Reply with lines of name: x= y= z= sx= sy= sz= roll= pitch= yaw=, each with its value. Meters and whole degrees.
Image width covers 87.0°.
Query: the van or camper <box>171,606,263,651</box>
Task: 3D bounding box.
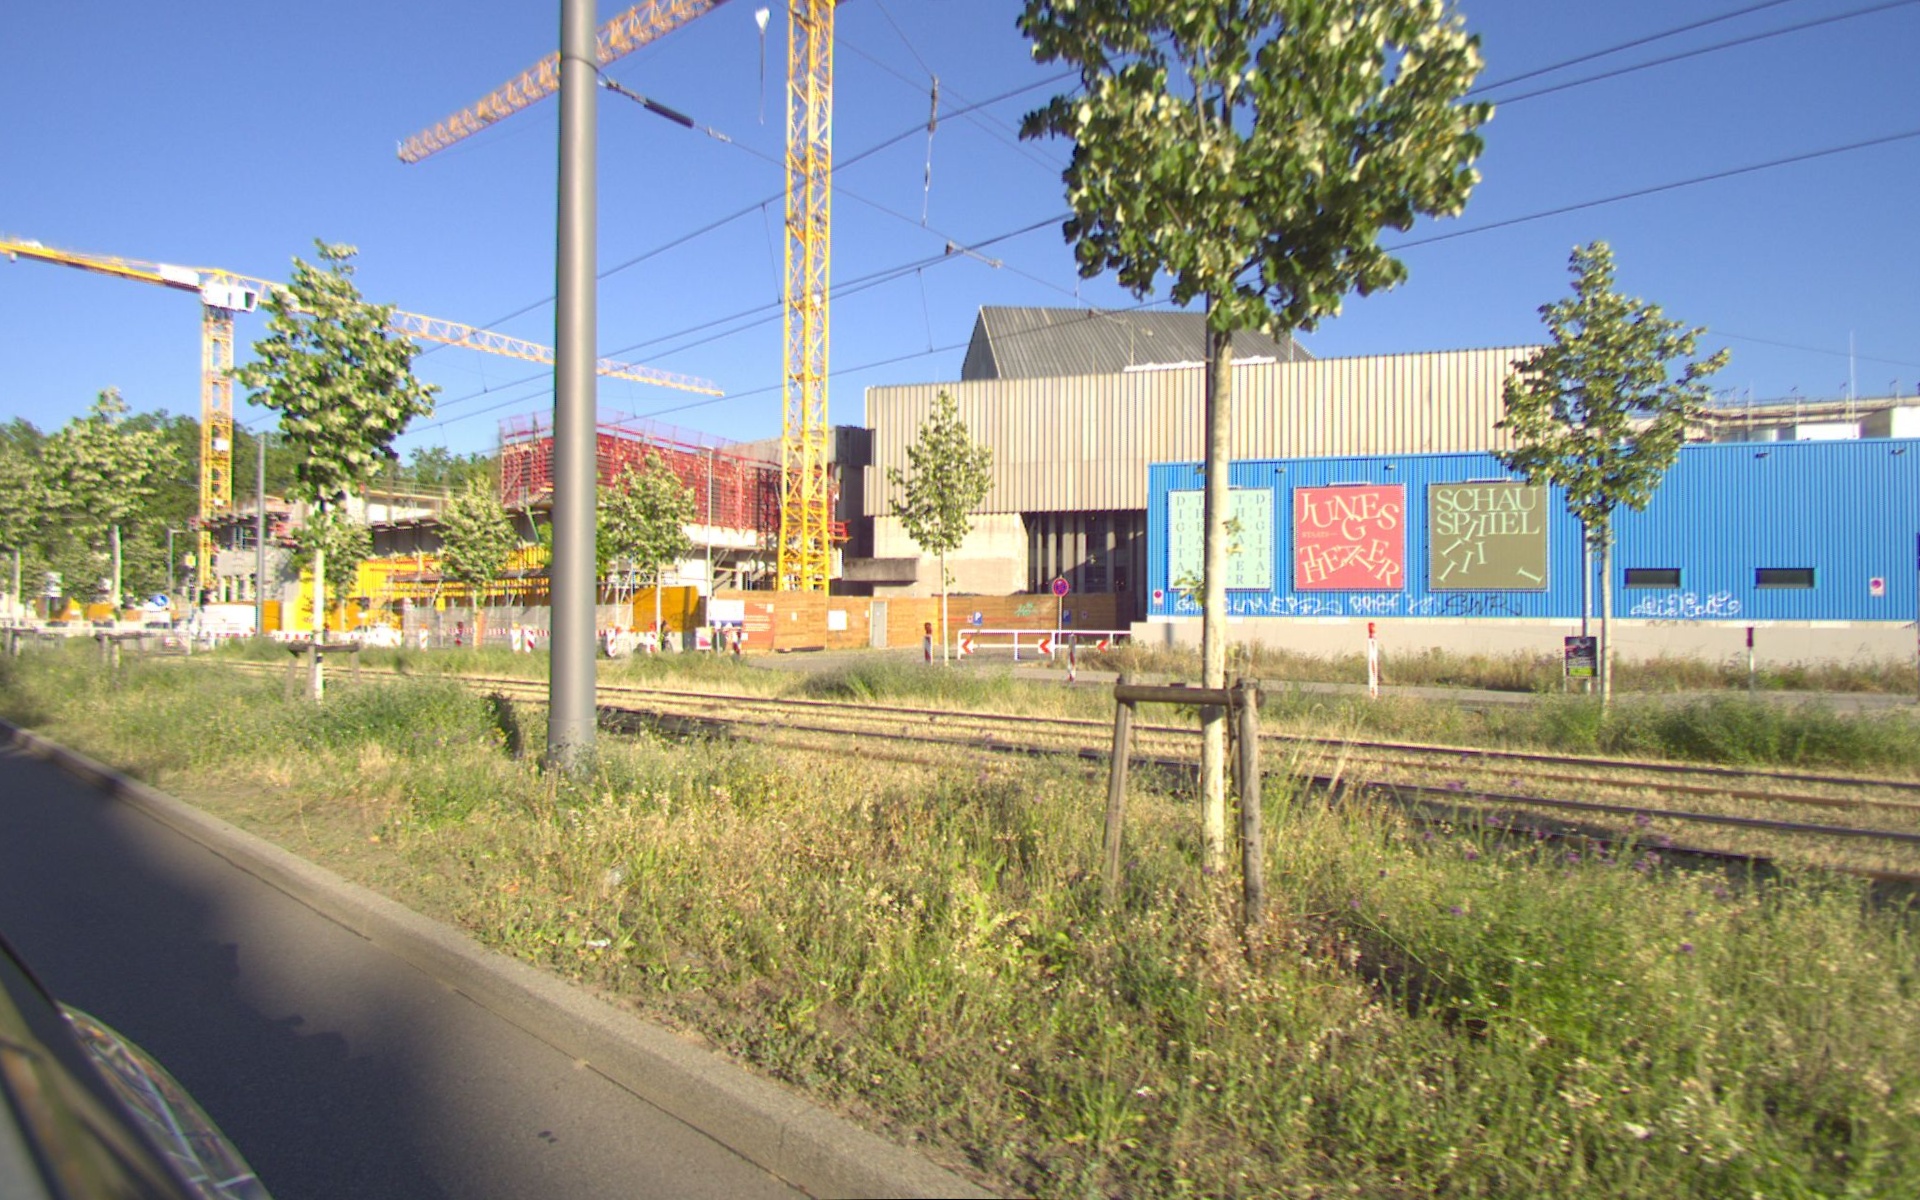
van or camper: x=-43.925 y=1.721 z=59.777 sx=7.185 sy=2.529 sz=2.202 roll=-2 pitch=-4 yaw=36
